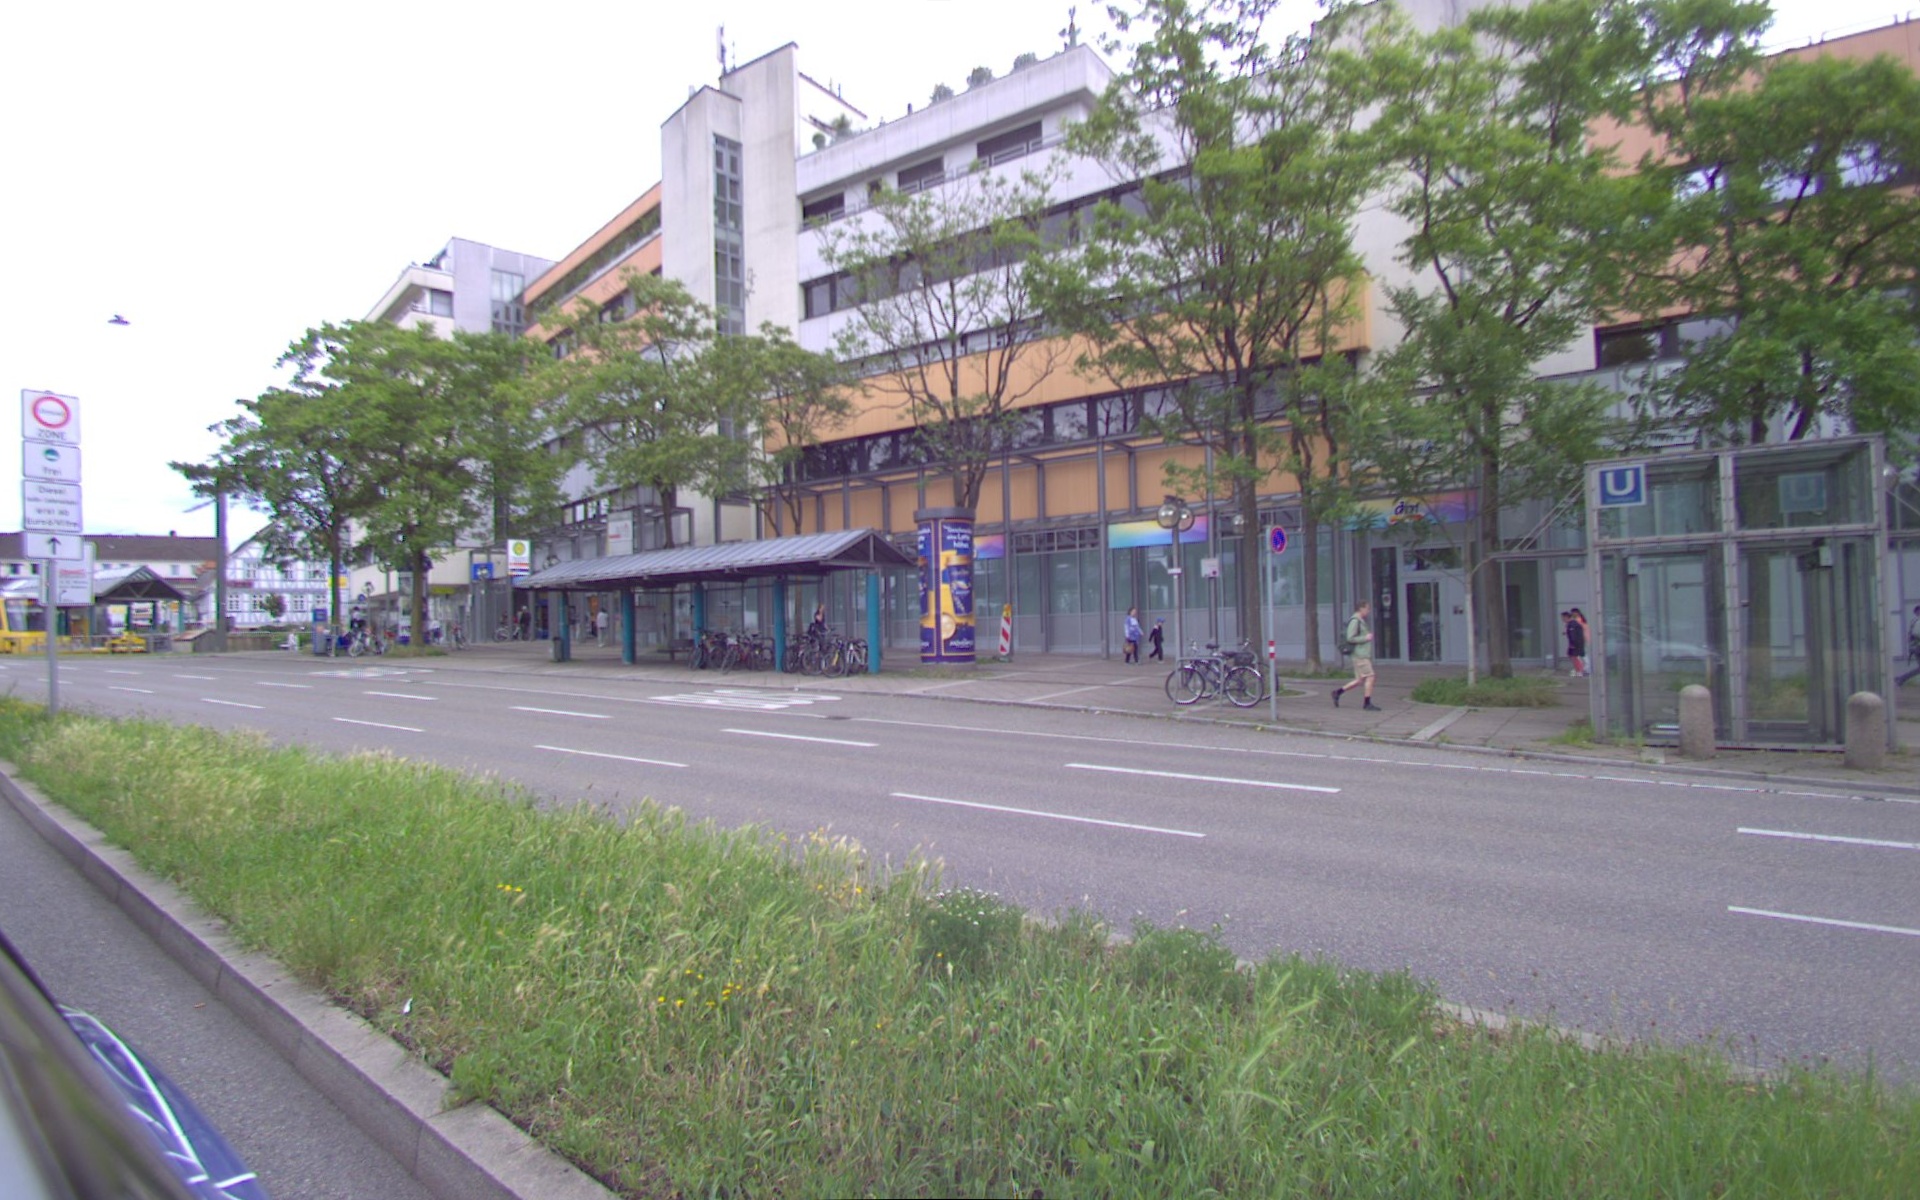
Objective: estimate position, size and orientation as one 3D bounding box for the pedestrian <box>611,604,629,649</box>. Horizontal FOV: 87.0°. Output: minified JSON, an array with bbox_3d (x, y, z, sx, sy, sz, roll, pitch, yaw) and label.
[{"bbox_3d":[-15.282,1.199,45.502,0.558,2.029,0.611,1,-2,-44],"label":"pedestrian"}]

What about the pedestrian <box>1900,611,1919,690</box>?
[{"bbox_3d":[18.408,0.946,19.197,0.754,1.491,0.524,-1,-2,36],"label":"pedestrian"}]

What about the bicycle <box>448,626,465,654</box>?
[{"bbox_3d":[-21.357,1.702,42.926,0.584,1.134,2.044,1,-1,-26],"label":"bicycle"}]

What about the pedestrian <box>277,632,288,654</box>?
[{"bbox_3d":[-35.853,2.264,53.554,0.368,1.188,0.338,-1,-2,31],"label":"pedestrian"}]

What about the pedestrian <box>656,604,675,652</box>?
[{"bbox_3d":[-12.592,1.213,43.332,0.558,2.029,0.611,1,-2,-44],"label":"pedestrian"}]

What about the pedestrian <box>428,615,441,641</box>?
[{"bbox_3d":[-30.955,1.661,59.635,0.548,1.506,0.454,1,-2,-41],"label":"pedestrian"}]

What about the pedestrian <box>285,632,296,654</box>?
[{"bbox_3d":[-35.634,2.299,53.881,0.368,1.188,0.338,-1,-2,31],"label":"pedestrian"}]

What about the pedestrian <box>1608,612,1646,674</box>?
[{"bbox_3d":[15.287,0.984,23.207,0.694,1.385,0.578,-1,-2,34],"label":"pedestrian"}]

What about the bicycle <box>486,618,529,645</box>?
[{"bbox_3d":[-24.954,1.719,55.784,2.107,1.385,0.621,-1,0,-31],"label":"bicycle"}]

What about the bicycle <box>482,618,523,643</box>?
[{"bbox_3d":[-26.103,1.730,57.762,2.106,1.377,0.621,-1,0,-24],"label":"bicycle"}]

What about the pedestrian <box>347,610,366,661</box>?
[{"bbox_3d":[-27.770,1.622,46.575,0.608,2.325,0.583,-1,-2,39],"label":"pedestrian"}]

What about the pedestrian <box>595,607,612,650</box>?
[{"bbox_3d":[-15.478,1.236,43.903,0.639,1.823,0.761,0,-2,-16],"label":"pedestrian"}]

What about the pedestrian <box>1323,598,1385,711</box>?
[{"bbox_3d":[6.574,0.896,16.891,0.916,1.846,0.533,-1,-2,25],"label":"pedestrian"}]

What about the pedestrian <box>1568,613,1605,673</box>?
[{"bbox_3d":[14.716,0.992,23.763,0.694,1.385,0.578,-1,-2,34],"label":"pedestrian"}]

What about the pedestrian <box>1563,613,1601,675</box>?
[{"bbox_3d":[14.270,0.998,23.222,0.694,1.385,0.578,-1,-2,34],"label":"pedestrian"}]

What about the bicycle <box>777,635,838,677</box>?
[{"bbox_3d":[-4.142,1.509,27.558,0.549,1.048,1.714,-2,-1,38],"label":"bicycle"}]

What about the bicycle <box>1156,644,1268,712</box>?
[{"bbox_3d":[4.364,1.319,17.596,0.802,1.068,1.739,0,-1,-40],"label":"bicycle"}]

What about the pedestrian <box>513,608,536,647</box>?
[{"bbox_3d":[-21.168,1.328,49.183,0.752,1.859,0.755,-1,-2,41],"label":"pedestrian"}]

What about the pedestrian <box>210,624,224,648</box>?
[{"bbox_3d":[-48.146,2.346,65.580,0.581,1.554,0.570,-1,-2,32],"label":"pedestrian"}]

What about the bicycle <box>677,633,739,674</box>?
[{"bbox_3d":[-7.237,1.529,29.146,0.549,1.048,1.714,-2,0,38],"label":"bicycle"}]

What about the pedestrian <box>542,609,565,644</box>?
[{"bbox_3d":[-19.716,1.291,49.072,0.752,1.695,0.755,-1,-2,41],"label":"pedestrian"}]

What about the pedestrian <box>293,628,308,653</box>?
[{"bbox_3d":[-41.822,2.545,64.166,0.581,1.554,0.570,-1,-2,32],"label":"pedestrian"}]

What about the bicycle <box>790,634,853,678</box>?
[{"bbox_3d":[-3.618,1.453,26.591,0.549,1.048,1.714,-2,0,38],"label":"bicycle"}]

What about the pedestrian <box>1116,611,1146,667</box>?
[{"bbox_3d":[4.674,1.068,27.662,0.620,1.515,0.563,-1,-2,31],"label":"pedestrian"}]

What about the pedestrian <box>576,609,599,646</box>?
[{"bbox_3d":[-17.360,1.263,47.162,0.752,1.695,0.755,-1,-2,41],"label":"pedestrian"}]

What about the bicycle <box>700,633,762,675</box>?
[{"bbox_3d":[-6.459,1.507,28.581,0.549,1.048,1.714,-2,1,38],"label":"bicycle"}]

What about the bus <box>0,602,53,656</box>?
[{"bbox_3d":[-55.988,1.680,58.610,8.470,3.006,2.530,-1,-2,29],"label":"bus"}]

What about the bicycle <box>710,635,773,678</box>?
[{"bbox_3d":[-5.964,1.524,27.719,0.549,1.048,1.714,-2,1,38],"label":"bicycle"}]

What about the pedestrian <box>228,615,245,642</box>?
[{"bbox_3d":[-55.013,2.159,76.956,0.867,2.029,1.010,1,-2,-44],"label":"pedestrian"}]

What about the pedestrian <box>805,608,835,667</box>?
[{"bbox_3d":[-4.343,1.152,31.386,0.769,1.800,0.525,-1,-2,33],"label":"pedestrian"}]

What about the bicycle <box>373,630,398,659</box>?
[{"bbox_3d":[-22.752,1.748,40.106,0.584,1.085,2.044,0,-1,-21],"label":"bicycle"}]

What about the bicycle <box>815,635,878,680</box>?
[{"bbox_3d":[-2.908,1.468,26.058,0.549,1.048,1.714,-2,0,38],"label":"bicycle"}]

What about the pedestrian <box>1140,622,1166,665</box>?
[{"bbox_3d":[5.383,1.213,28.202,0.620,1.190,0.418,-1,-2,31],"label":"pedestrian"}]

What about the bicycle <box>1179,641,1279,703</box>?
[{"bbox_3d":[4.980,1.307,18.788,1.737,1.074,0.542,-2,-1,45],"label":"bicycle"}]

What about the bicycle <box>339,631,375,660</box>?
[{"bbox_3d":[-23.619,1.761,39.648,0.585,1.085,2.042,0,-1,-12],"label":"bicycle"}]
